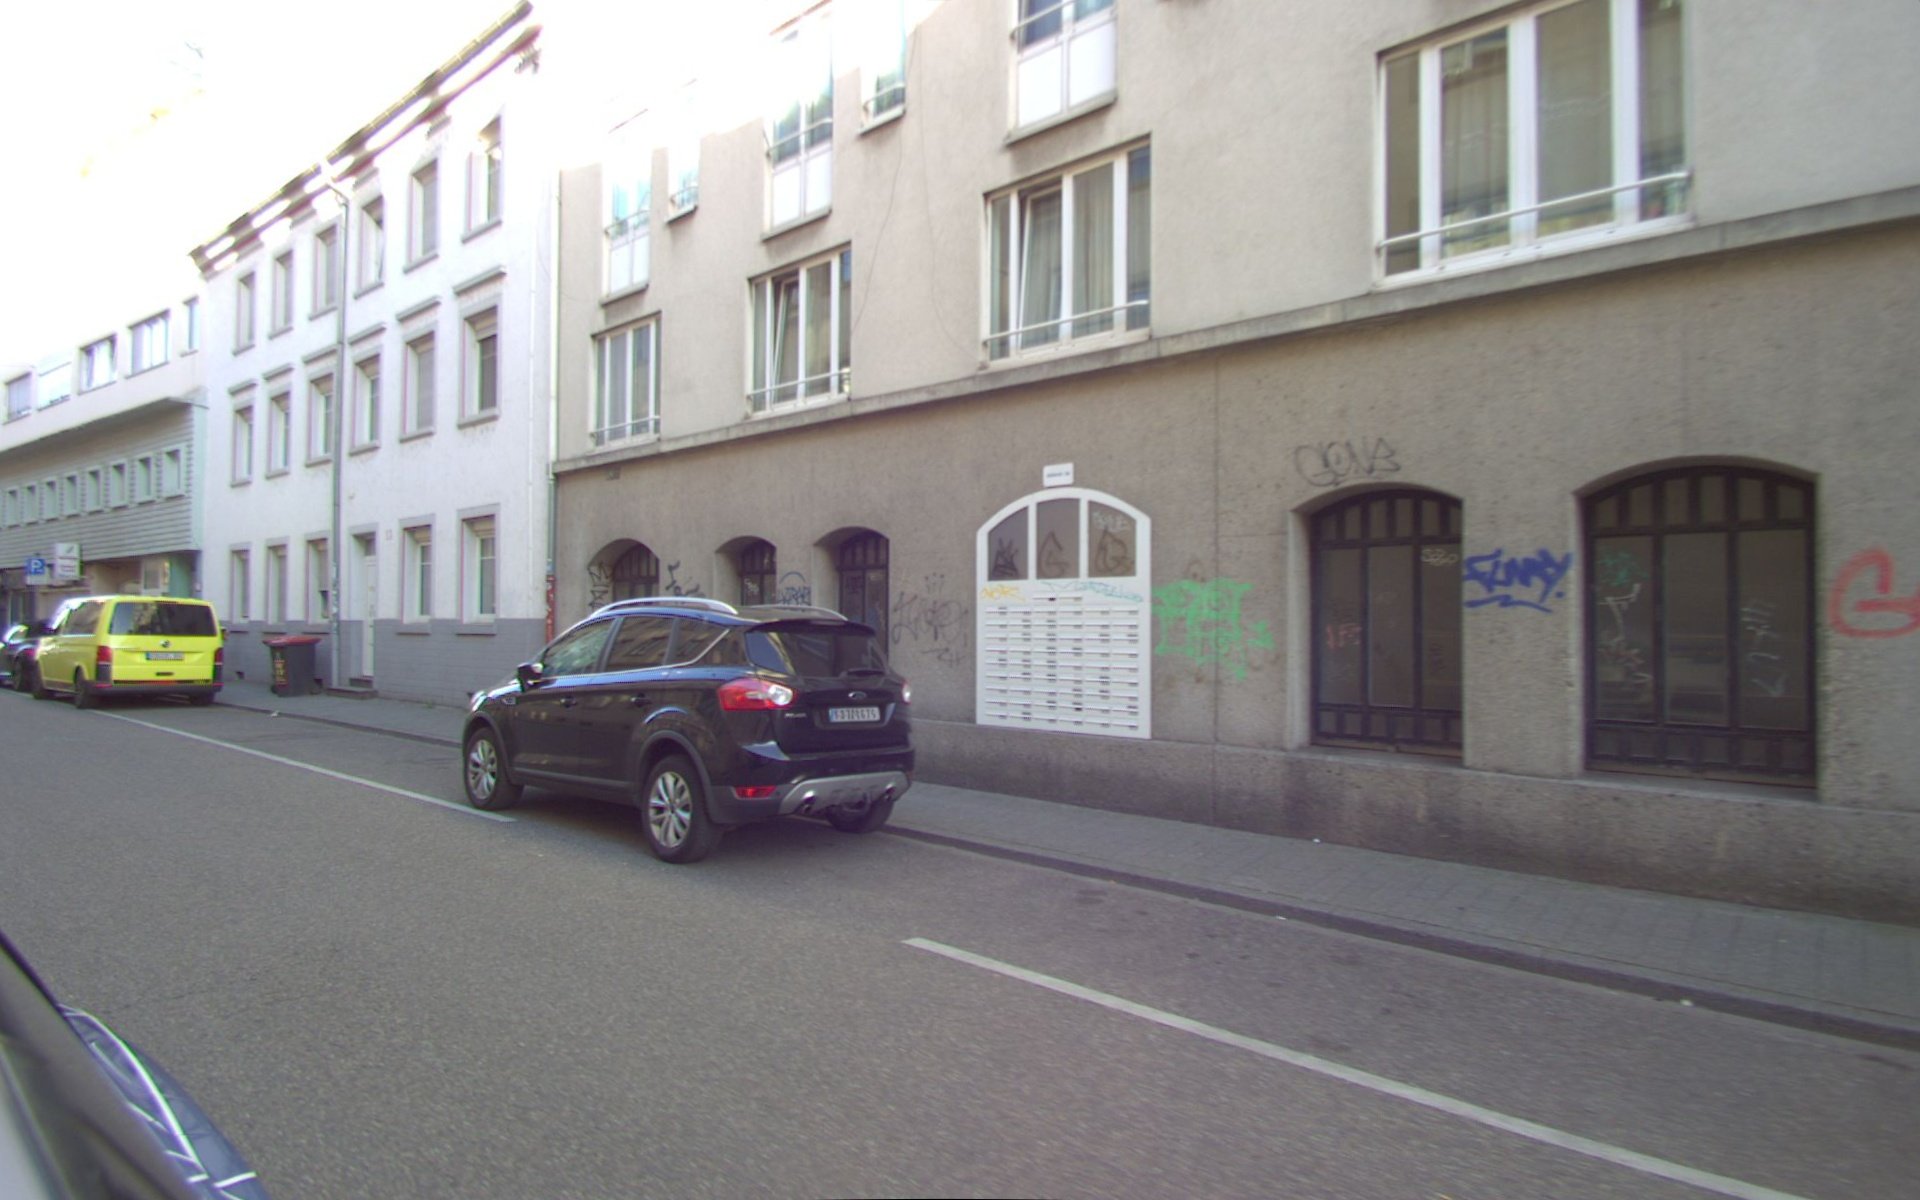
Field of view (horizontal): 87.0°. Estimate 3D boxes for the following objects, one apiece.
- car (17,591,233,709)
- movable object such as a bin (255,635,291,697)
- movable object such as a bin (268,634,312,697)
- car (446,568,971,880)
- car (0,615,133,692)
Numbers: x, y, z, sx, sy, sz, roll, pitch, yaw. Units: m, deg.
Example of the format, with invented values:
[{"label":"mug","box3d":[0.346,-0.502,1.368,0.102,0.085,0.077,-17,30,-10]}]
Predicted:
[{"label":"car","box3d":[-15.169,0.880,18.302,4.856,1.881,1.862,-1,-4,37]},{"label":"movable object such as a bin","box3d":[-12.767,1.218,18.806,0.433,1.113,0.406,-1,-3,39]},{"label":"movable object such as a bin","box3d":[-12.223,1.184,18.461,0.433,1.113,0.535,-1,-3,39]},{"label":"car","box3d":[-2.080,0.772,7.663,4.188,1.724,1.722,-1,-5,41]},{"label":"car","box3d":[-19.577,1.117,21.679,4.067,1.497,1.803,-1,-4,35]}]
